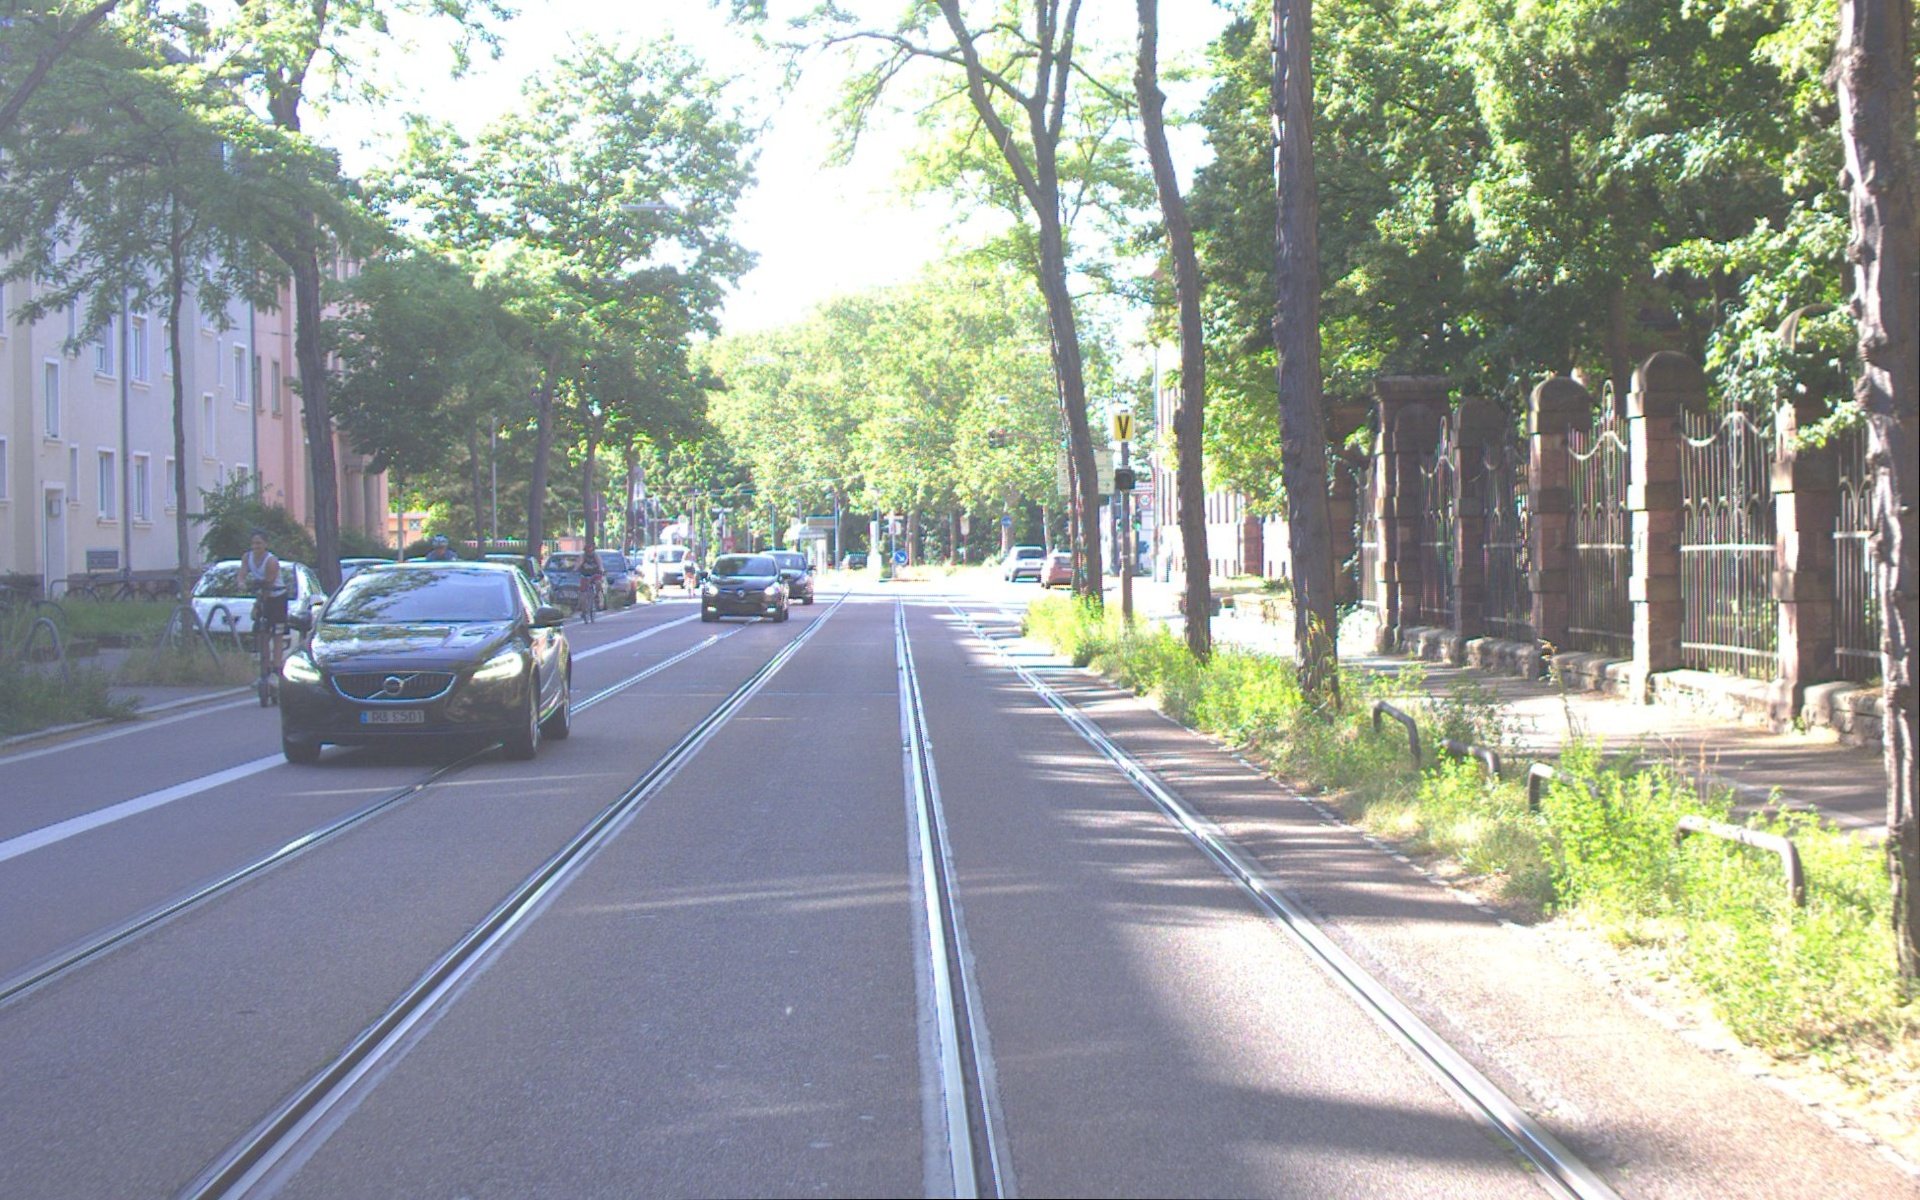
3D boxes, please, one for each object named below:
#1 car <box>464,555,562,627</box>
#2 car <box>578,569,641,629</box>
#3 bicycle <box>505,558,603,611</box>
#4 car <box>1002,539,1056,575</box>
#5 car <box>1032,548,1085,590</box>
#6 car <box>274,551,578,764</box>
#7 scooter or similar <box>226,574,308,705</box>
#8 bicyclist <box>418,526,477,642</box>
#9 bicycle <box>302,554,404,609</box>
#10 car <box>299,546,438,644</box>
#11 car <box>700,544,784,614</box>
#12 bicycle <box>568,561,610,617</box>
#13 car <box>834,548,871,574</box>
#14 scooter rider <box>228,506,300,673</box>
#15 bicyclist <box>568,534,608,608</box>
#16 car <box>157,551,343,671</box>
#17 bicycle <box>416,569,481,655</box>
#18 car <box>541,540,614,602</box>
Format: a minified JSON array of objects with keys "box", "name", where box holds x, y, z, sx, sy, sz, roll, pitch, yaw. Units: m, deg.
[{"box":[-9.994,-0.217,77.155,1.745,1.485,4.324,2,1,-2],"name":"car"},{"box":[-10.341,-0.048,101.554,1.745,1.655,4.392,2,1,-5],"name":"car"},{"box":[-9.880,-0.384,83.697,2.285,1.194,0.559,2,2,6],"name":"bicycle"},{"box":[3.100,-1.937,154.863,1.942,1.605,4.001,-1,1,-6],"name":"car"},{"box":[3.955,-1.251,139.102,1.839,1.649,3.580,0,1,-3],"name":"car"},{"box":[-3.920,0.363,25.889,1.757,1.434,4.524,0,1,-2],"name":"car"},{"box":[-7.239,0.399,35.973,0.520,1.293,1.377,-4,1,-1],"name":"scooter or similar"},{"box":[-7.389,-0.235,49.604,0.626,1.633,0.940,-3,1,-1],"name":"bicyclist"},{"box":[-14.337,-0.445,81.225,2.285,1.194,0.559,2,2,6],"name":"bicycle"},{"box":[-9.522,-0.108,55.607,1.687,1.480,3.760,2,1,-2],"name":"car"},{"box":[-4.634,-0.470,73.423,1.699,1.434,4.072,0,1,-2],"name":"car"},{"box":[-8.195,-0.244,76.085,0.694,1.173,1.913,-3,1,-1],"name":"bicycle"},{"box":[-6.670,-2.430,212.722,1.942,1.605,4.001,-1,1,-6],"name":"car"},{"box":[-7.274,-0.116,35.955,0.496,1.694,0.787,-4,1,-1],"name":"scooter rider"},{"box":[-8.220,-0.650,76.032,0.709,1.601,0.865,-3,1,-1],"name":"bicyclist"},{"box":[-9.564,0.111,46.581,1.702,1.480,4.079,2,1,-1],"name":"car"},{"box":[-7.373,0.159,49.653,0.626,1.173,1.913,-3,1,-1],"name":"bicycle"},{"box":[-10.368,-0.807,93.345,1.745,1.564,4.070,2,1,-4],"name":"car"}]
